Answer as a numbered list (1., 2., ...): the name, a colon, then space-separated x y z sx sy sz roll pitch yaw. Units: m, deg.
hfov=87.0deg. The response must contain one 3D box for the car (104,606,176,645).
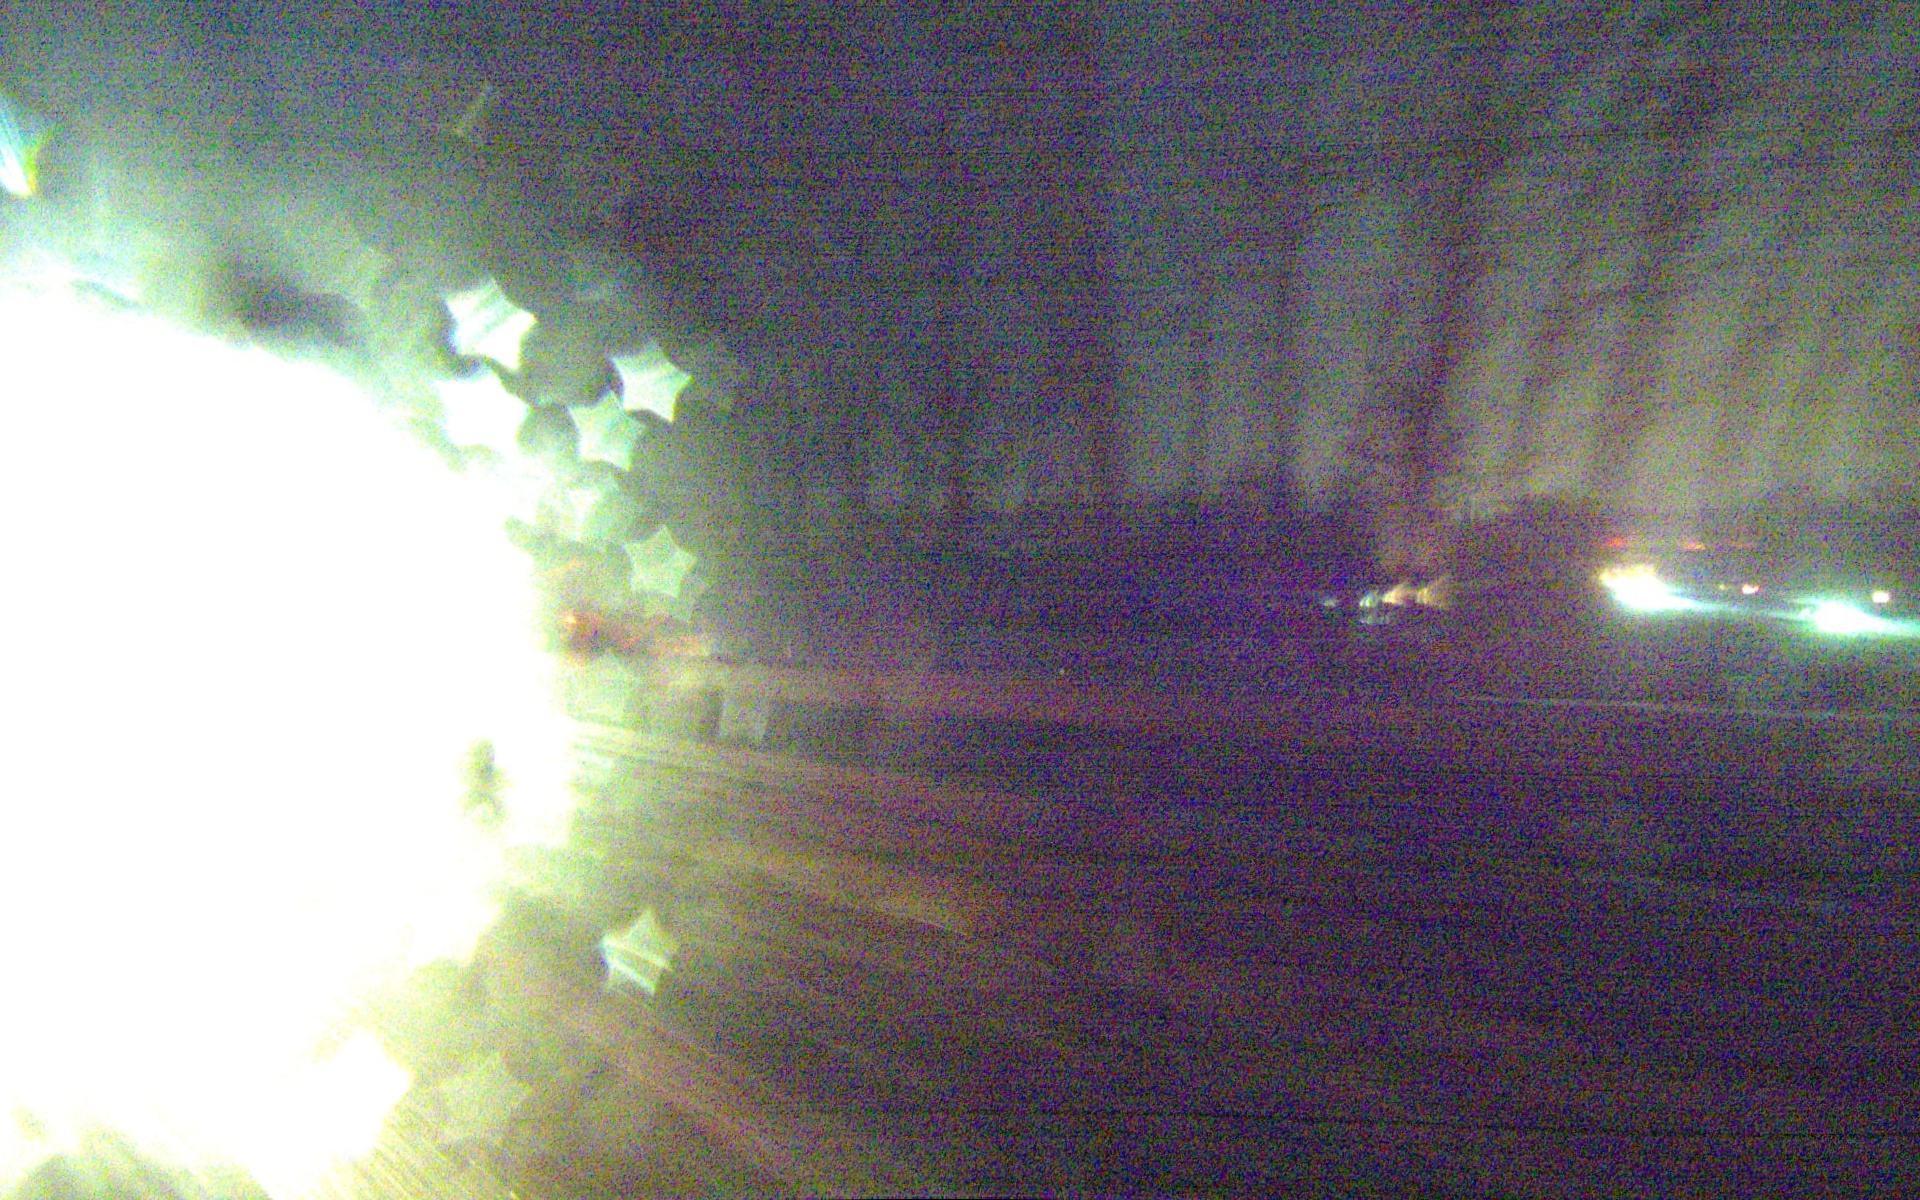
1. car: -30.073 0.904 37.217 1.732 1.321 4.096 0 0 -34

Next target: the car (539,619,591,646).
1. car: -26.543 2.140 67.914 4.102 1.436 1.720 4 4 44

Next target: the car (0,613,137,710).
1. car: -15.187 0.967 17.190 1.660 1.462 3.650 1 -1 -36

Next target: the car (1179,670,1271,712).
1. car: 10.487 3.606 40.221 3.393 1.438 1.500 1 -1 10

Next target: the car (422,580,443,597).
1. car: -54.624 -1.207 104.789 1.734 1.501 4.059 0 4 -31
